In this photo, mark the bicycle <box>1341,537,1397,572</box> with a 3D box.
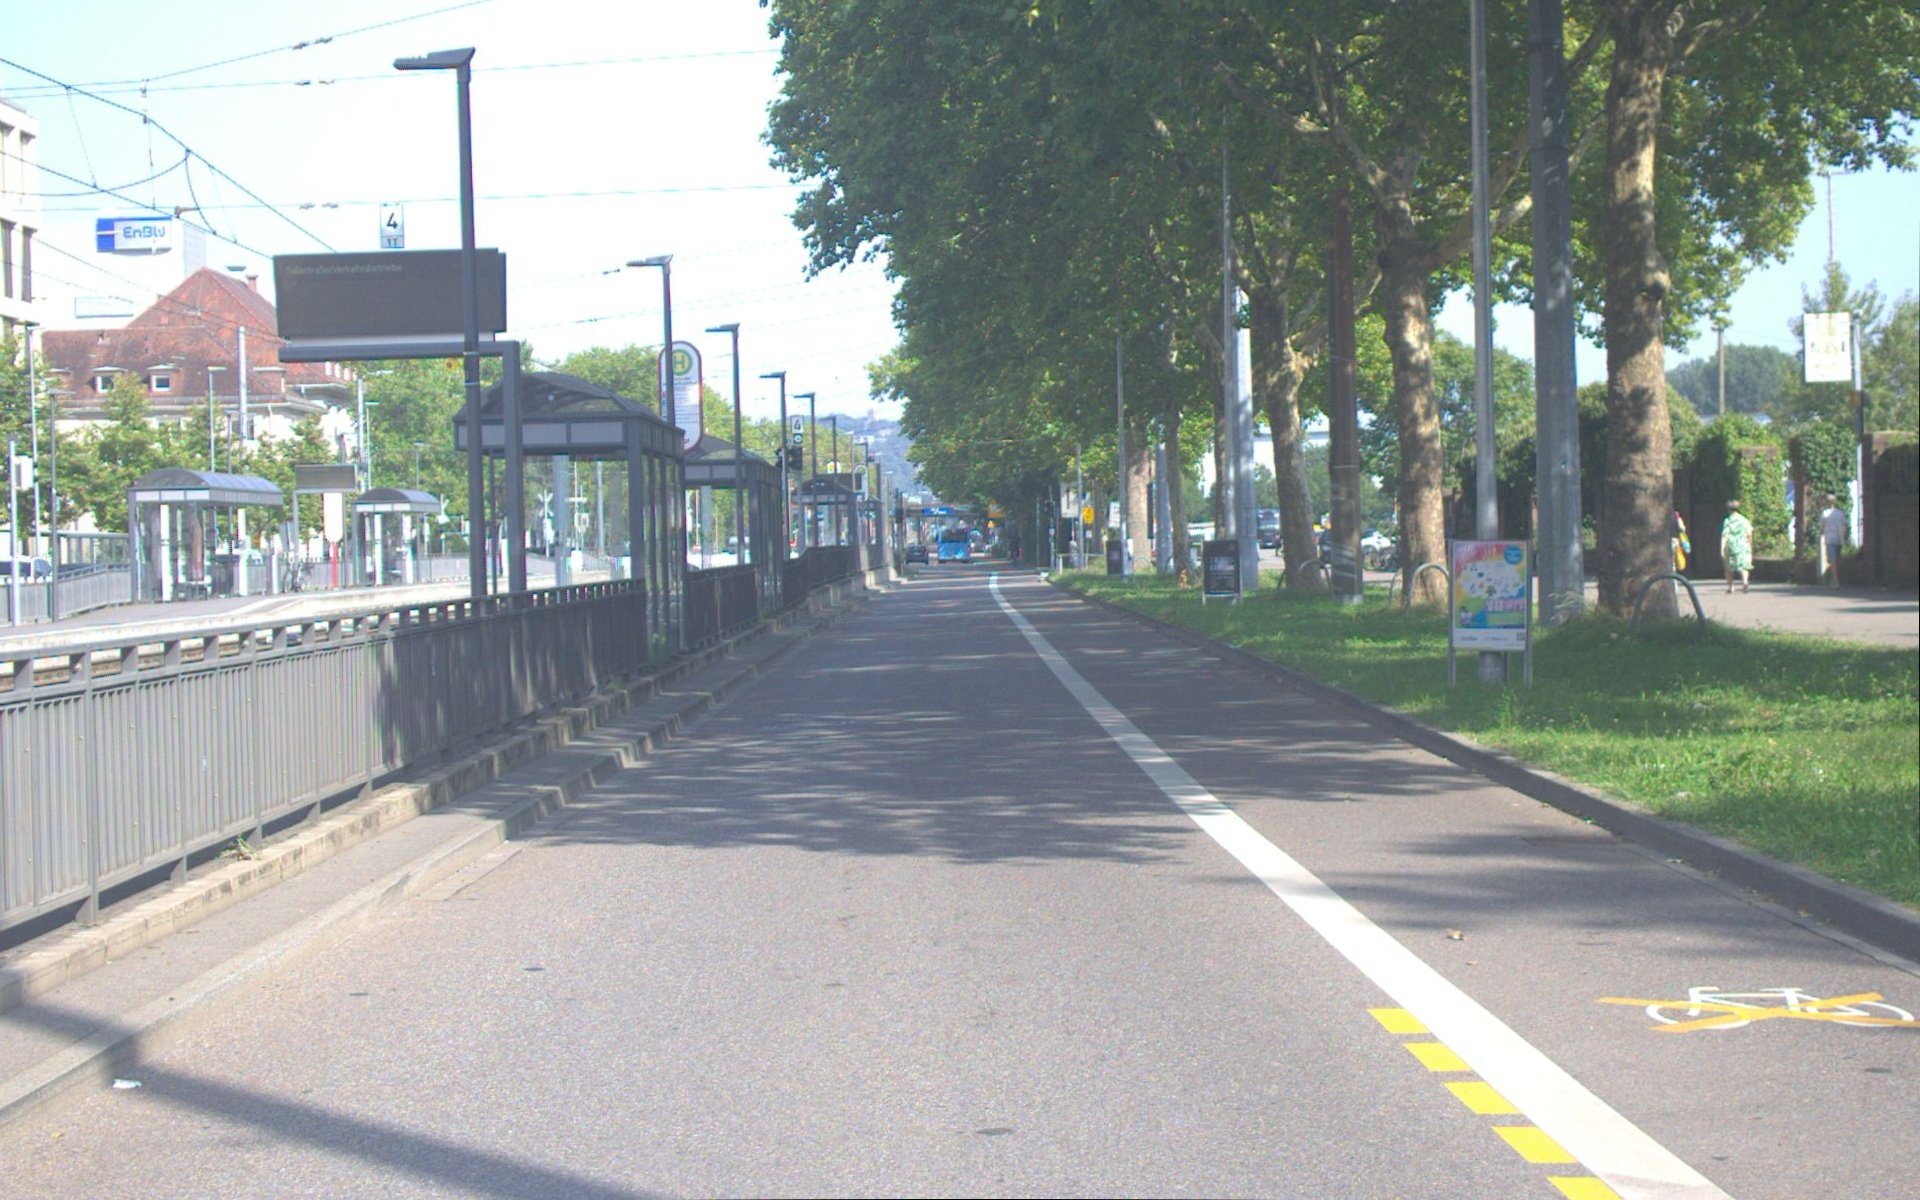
[{"bbox_3d":[11.998,-1.331,100.836,0.505,0.966,1.661,-4,1,-41],"label":"bicycle"}]

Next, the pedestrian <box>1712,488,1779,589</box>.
[{"bbox_3d":[12.927,-1.010,56.593,0.806,1.598,0.947,-3,1,0],"label":"pedestrian"}]

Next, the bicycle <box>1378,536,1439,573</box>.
[{"bbox_3d":[12.828,-1.310,98.330,1.656,0.966,0.506,-3,1,6],"label":"bicycle"}]

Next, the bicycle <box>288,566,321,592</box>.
[{"bbox_3d":[-17.881,-0.579,93.802,0.477,0.660,1.613,-2,1,4],"label":"bicycle"}]

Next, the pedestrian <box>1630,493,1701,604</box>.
[{"bbox_3d":[10.772,-0.789,52.500,0.806,1.630,0.947,-3,1,0],"label":"pedestrian"}]

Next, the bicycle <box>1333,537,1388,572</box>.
[{"bbox_3d":[11.891,-1.360,102.172,0.505,0.966,1.661,-4,1,-41],"label":"bicycle"}]

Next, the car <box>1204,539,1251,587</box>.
[{"bbox_3d":[11.861,-1.645,152.486,1.722,2.041,4.462,-2,1,0],"label":"car"}]

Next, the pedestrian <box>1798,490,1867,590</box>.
[{"bbox_3d":[14.295,-0.982,56.342,0.806,1.598,0.947,-3,1,0],"label":"pedestrian"}]

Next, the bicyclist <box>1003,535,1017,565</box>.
[{"bbox_3d":[2.463,-2.447,169.048,0.705,1.456,1.009,0,0,0],"label":"bicyclist"}]
